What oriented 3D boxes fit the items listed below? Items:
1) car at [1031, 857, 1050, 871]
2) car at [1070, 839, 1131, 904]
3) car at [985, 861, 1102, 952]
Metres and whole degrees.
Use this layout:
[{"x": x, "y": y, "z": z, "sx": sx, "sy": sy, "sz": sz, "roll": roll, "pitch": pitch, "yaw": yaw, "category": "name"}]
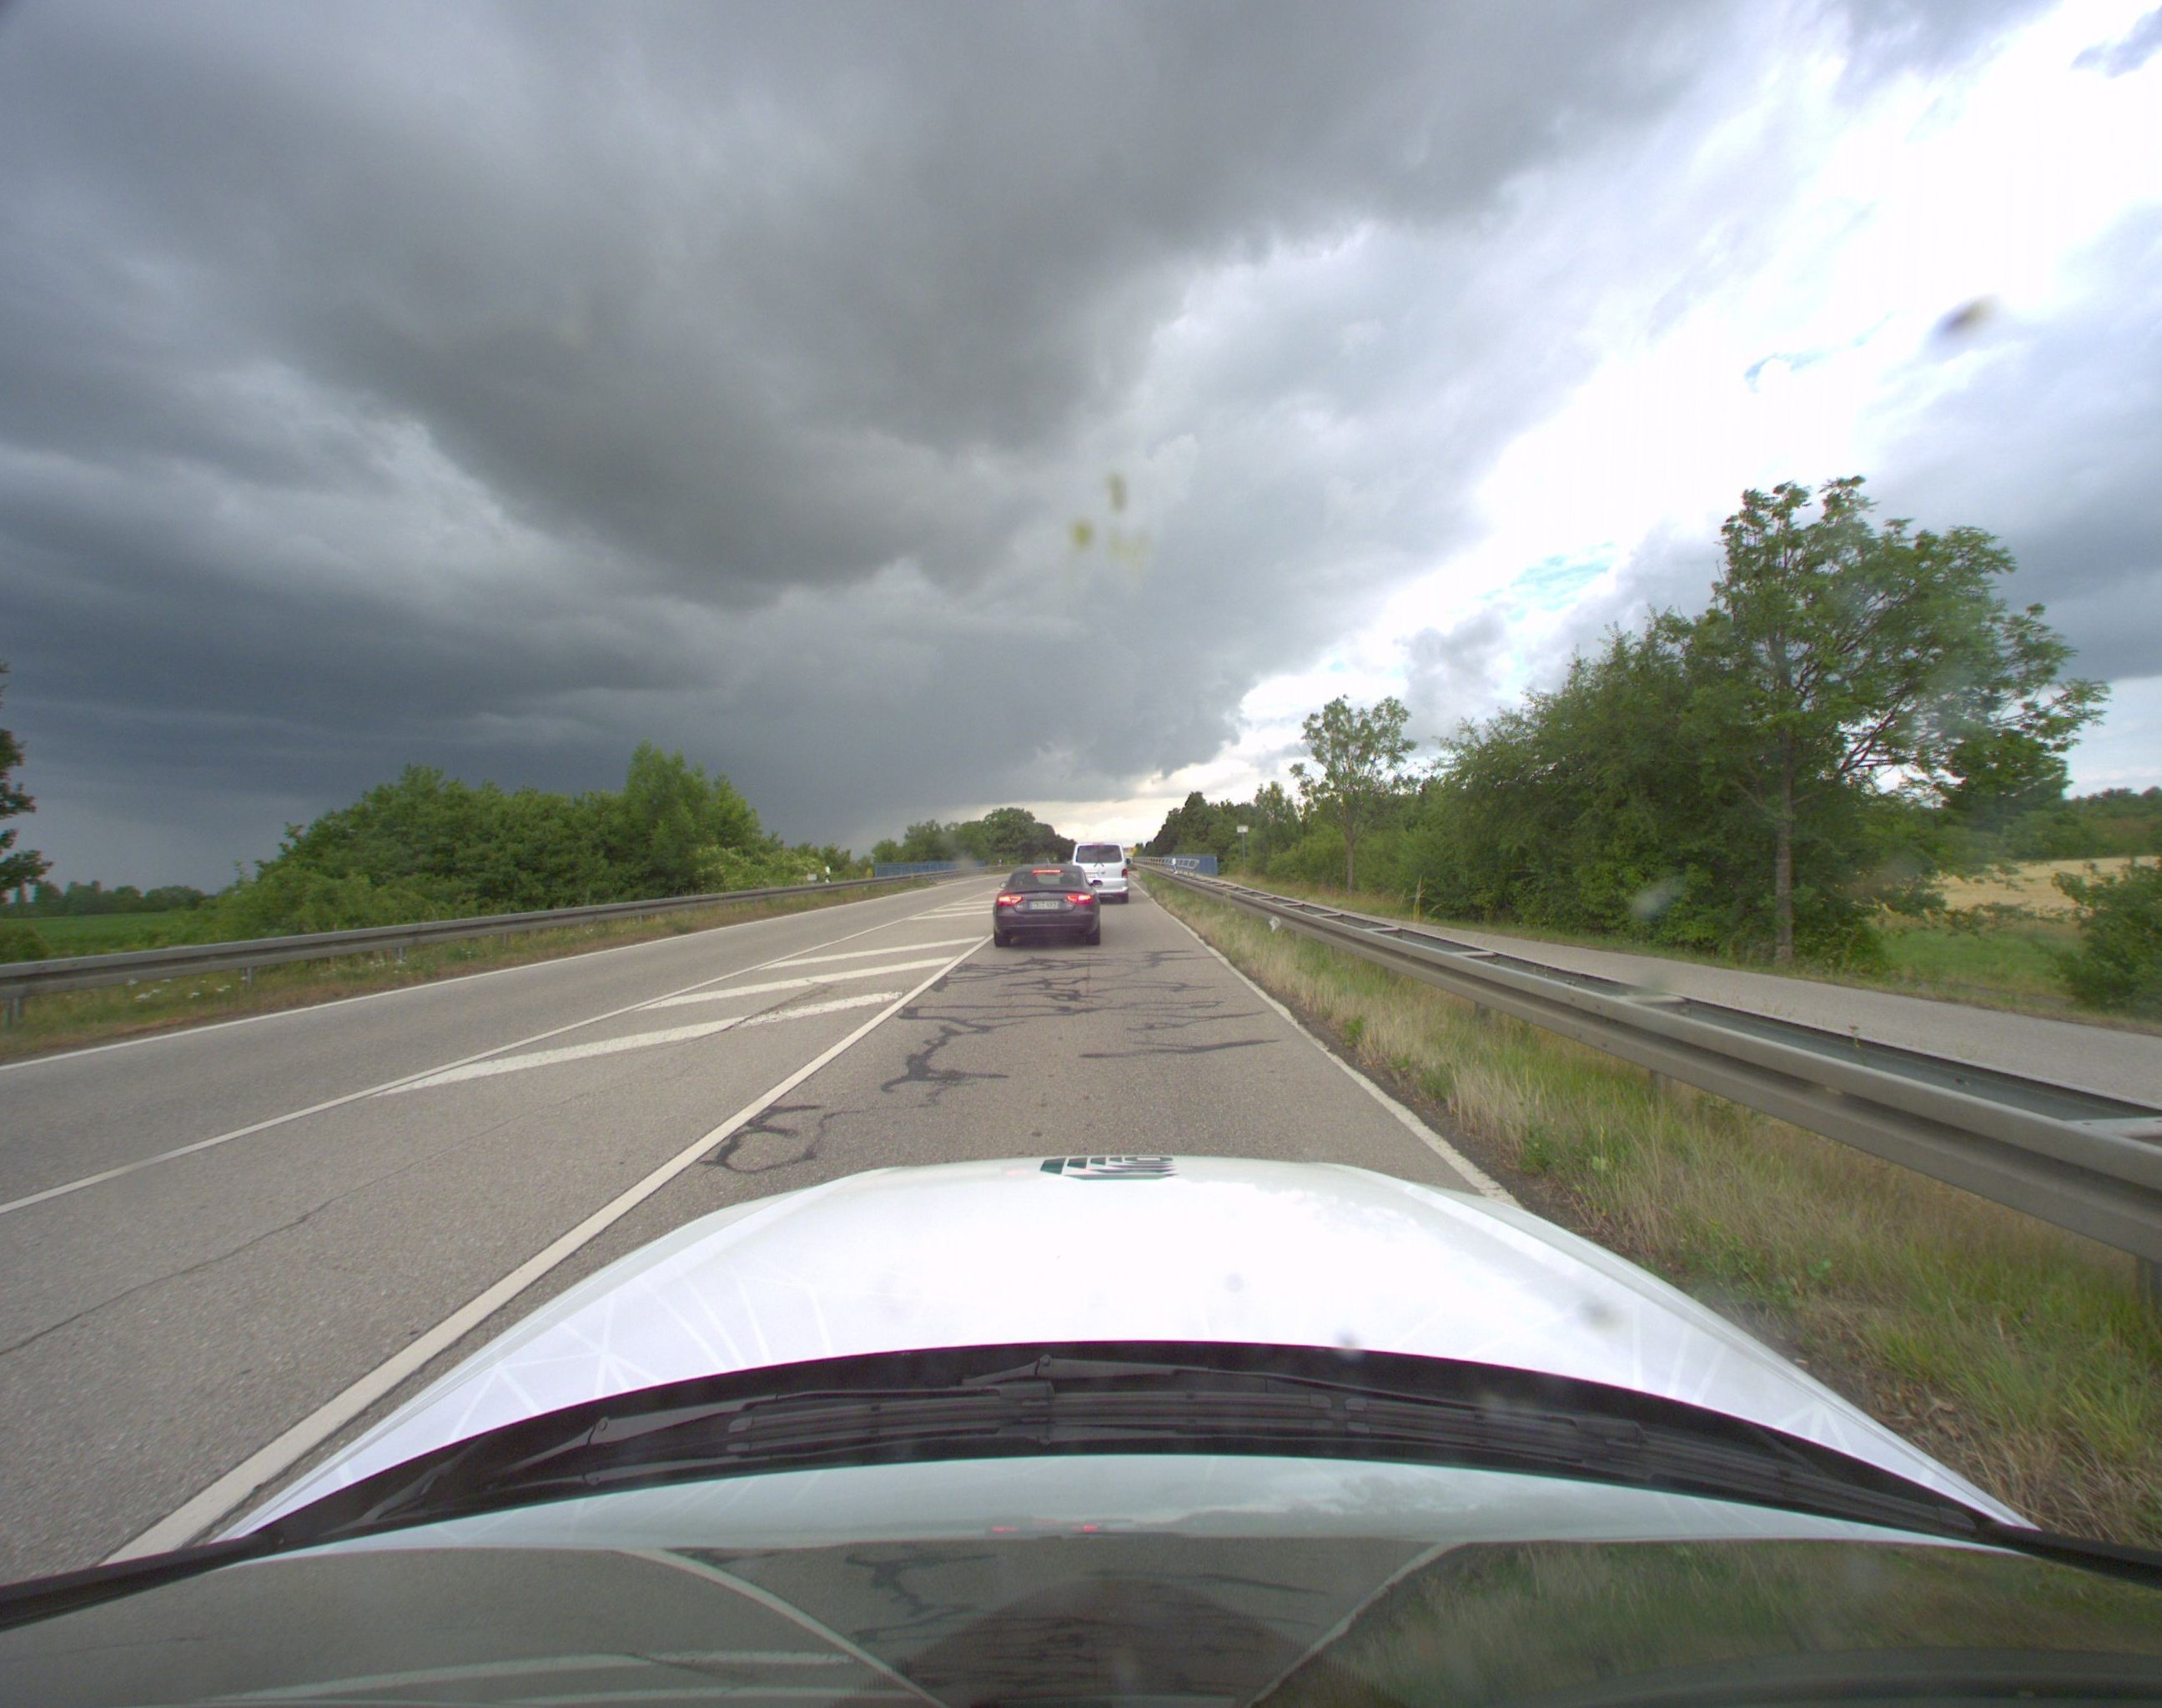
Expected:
[{"x": -4.613, "y": 1.119, "z": 93.172, "sx": 1.793, "sy": 1.450, "sz": 4.446, "roll": -2, "pitch": 0, "yaw": 0, "category": "car"}, {"x": 0.658, "y": 0.562, "z": 27.088, "sx": 1.821, "sy": 1.935, "sz": 4.001, "roll": -2, "pitch": 0, "yaw": 1, "category": "car"}, {"x": -0.547, "y": 0.855, "z": 15.037, "sx": 1.815, "sy": 1.381, "sz": 4.073, "roll": -2, "pitch": 0, "yaw": 2, "category": "car"}]
